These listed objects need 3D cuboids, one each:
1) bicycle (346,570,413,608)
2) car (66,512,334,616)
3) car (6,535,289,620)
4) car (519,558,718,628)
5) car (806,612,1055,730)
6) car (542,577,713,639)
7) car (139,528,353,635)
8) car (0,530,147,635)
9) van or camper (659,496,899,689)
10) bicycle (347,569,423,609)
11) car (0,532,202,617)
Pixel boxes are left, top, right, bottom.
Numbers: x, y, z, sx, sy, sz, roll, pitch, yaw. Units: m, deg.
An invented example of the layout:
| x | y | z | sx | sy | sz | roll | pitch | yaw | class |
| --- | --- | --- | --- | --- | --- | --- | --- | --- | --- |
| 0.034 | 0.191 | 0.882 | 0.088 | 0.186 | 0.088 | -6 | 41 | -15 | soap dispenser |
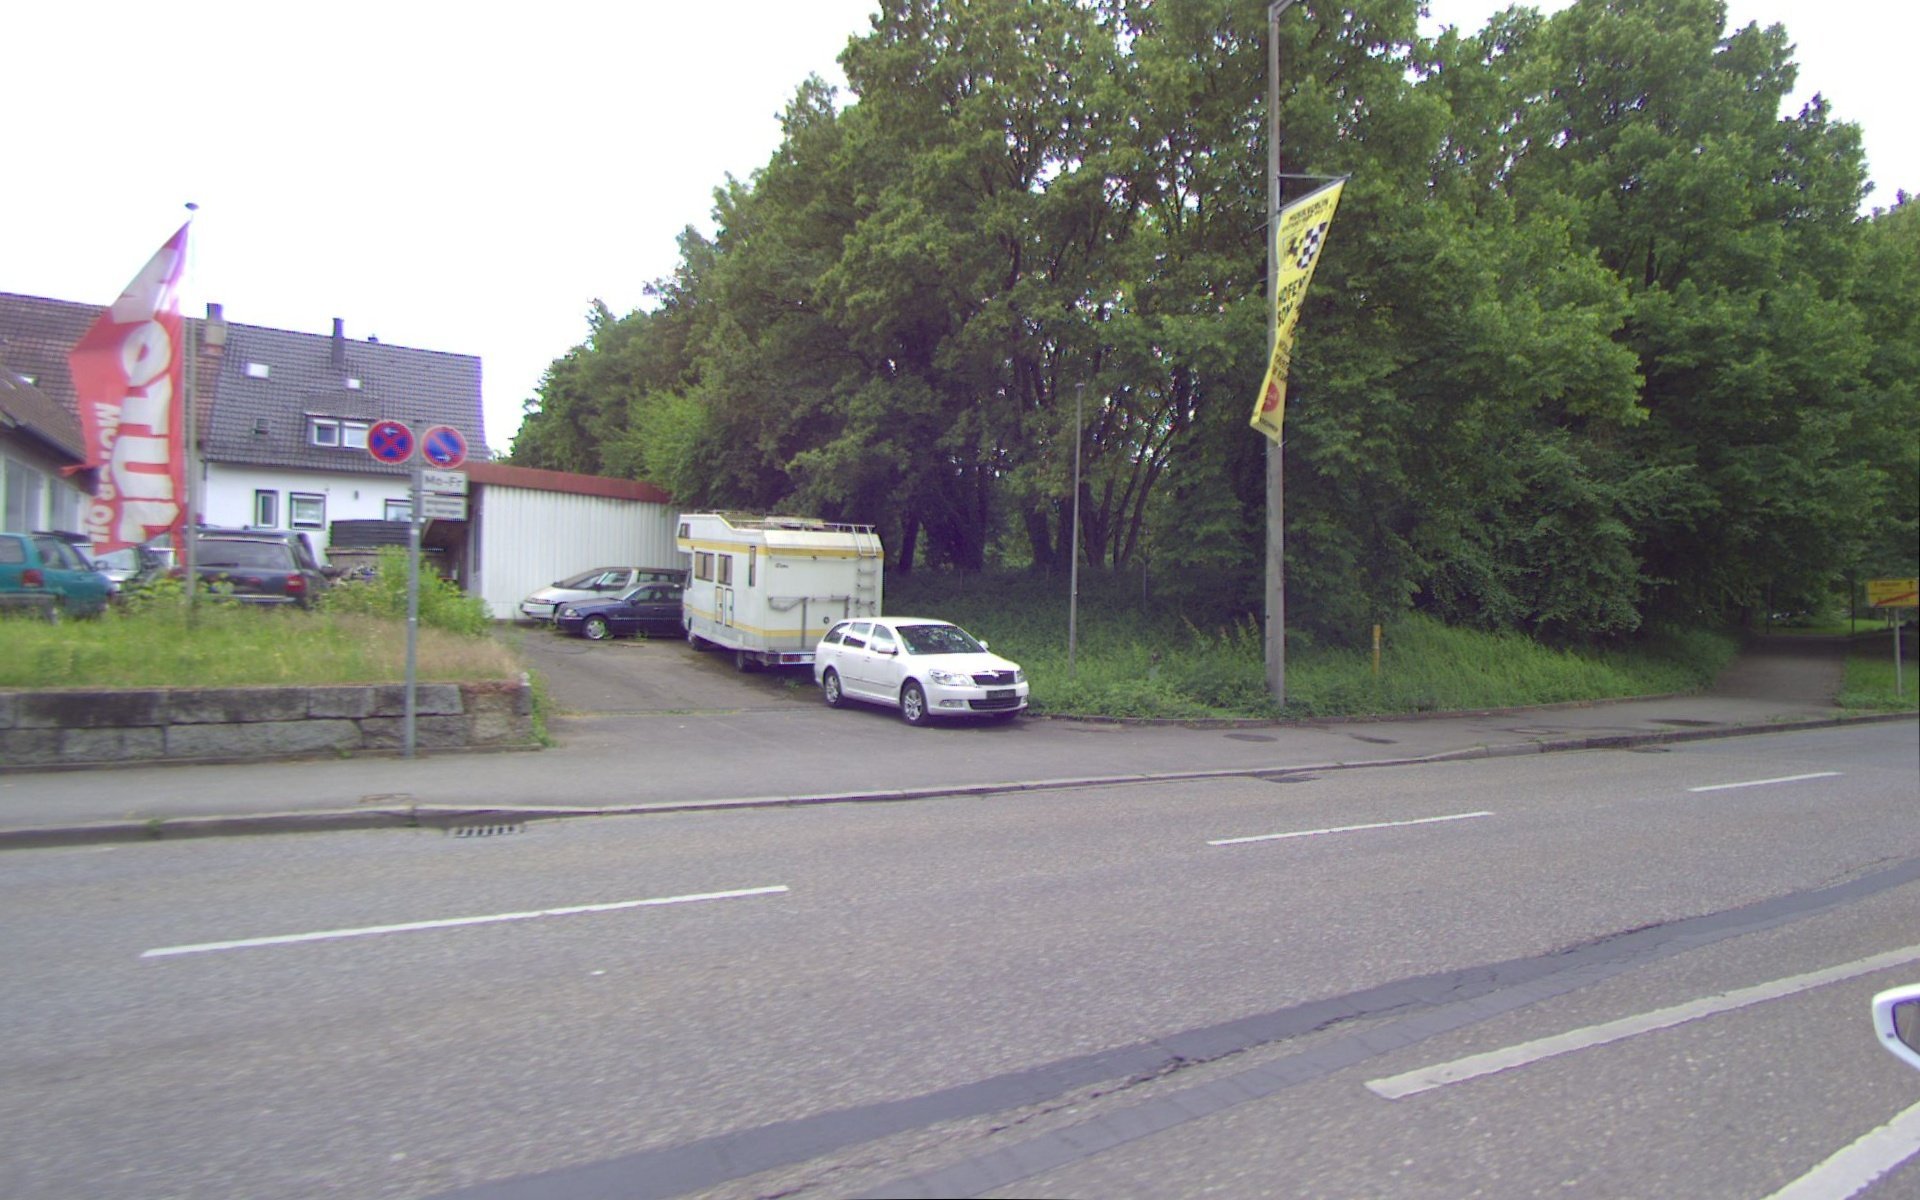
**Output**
| x | y | z | sx | sy | sz | roll | pitch | yaw | class |
| --- | --- | --- | --- | --- | --- | --- | --- | --- | --- |
| -18.565 | -0.359 | 32.150 | 1.798 | 1.196 | 0.629 | -1 | 1 | -27 | bicycle |
| -17.466 | -0.764 | 23.434 | 4.695 | 2.090 | 1.871 | 2 | 0 | -30 | car |
| -16.987 | -0.426 | 21.336 | 4.349 | 1.549 | 1.984 | 2 | 0 | -30 | car |
| -9.315 | -0.156 | 27.485 | 4.909 | 1.711 | 1.893 | 2 | 0 | -29 | car |
| -0.625 | 0.977 | 15.599 | 1.940 | 1.460 | 4.350 | 1 | 0 | -32 | car |
| -8.272 | 0.199 | 25.083 | 3.828 | 1.364 | 1.508 | 2 | 2 | -29 | car |
| -10.867 | -0.248 | 15.623 | 1.973 | 1.388 | 3.975 | 2 | 0 | -25 | car |
| -13.032 | -0.253 | 14.016 | 1.863 | 1.285 | 3.914 | 2 | 0 | -28 | car |
| -4.163 | -0.367 | 21.478 | 2.763 | 3.417 | 7.106 | 1 | 4 | -30 | van or camper |
| -17.576 | -0.326 | 30.738 | 1.959 | 1.196 | 0.629 | 0 | 1 | -27 | bicycle |
| -15.070 | -0.417 | 17.791 | 1.773 | 1.284 | 3.975 | 2 | 0 | -25 | car |
